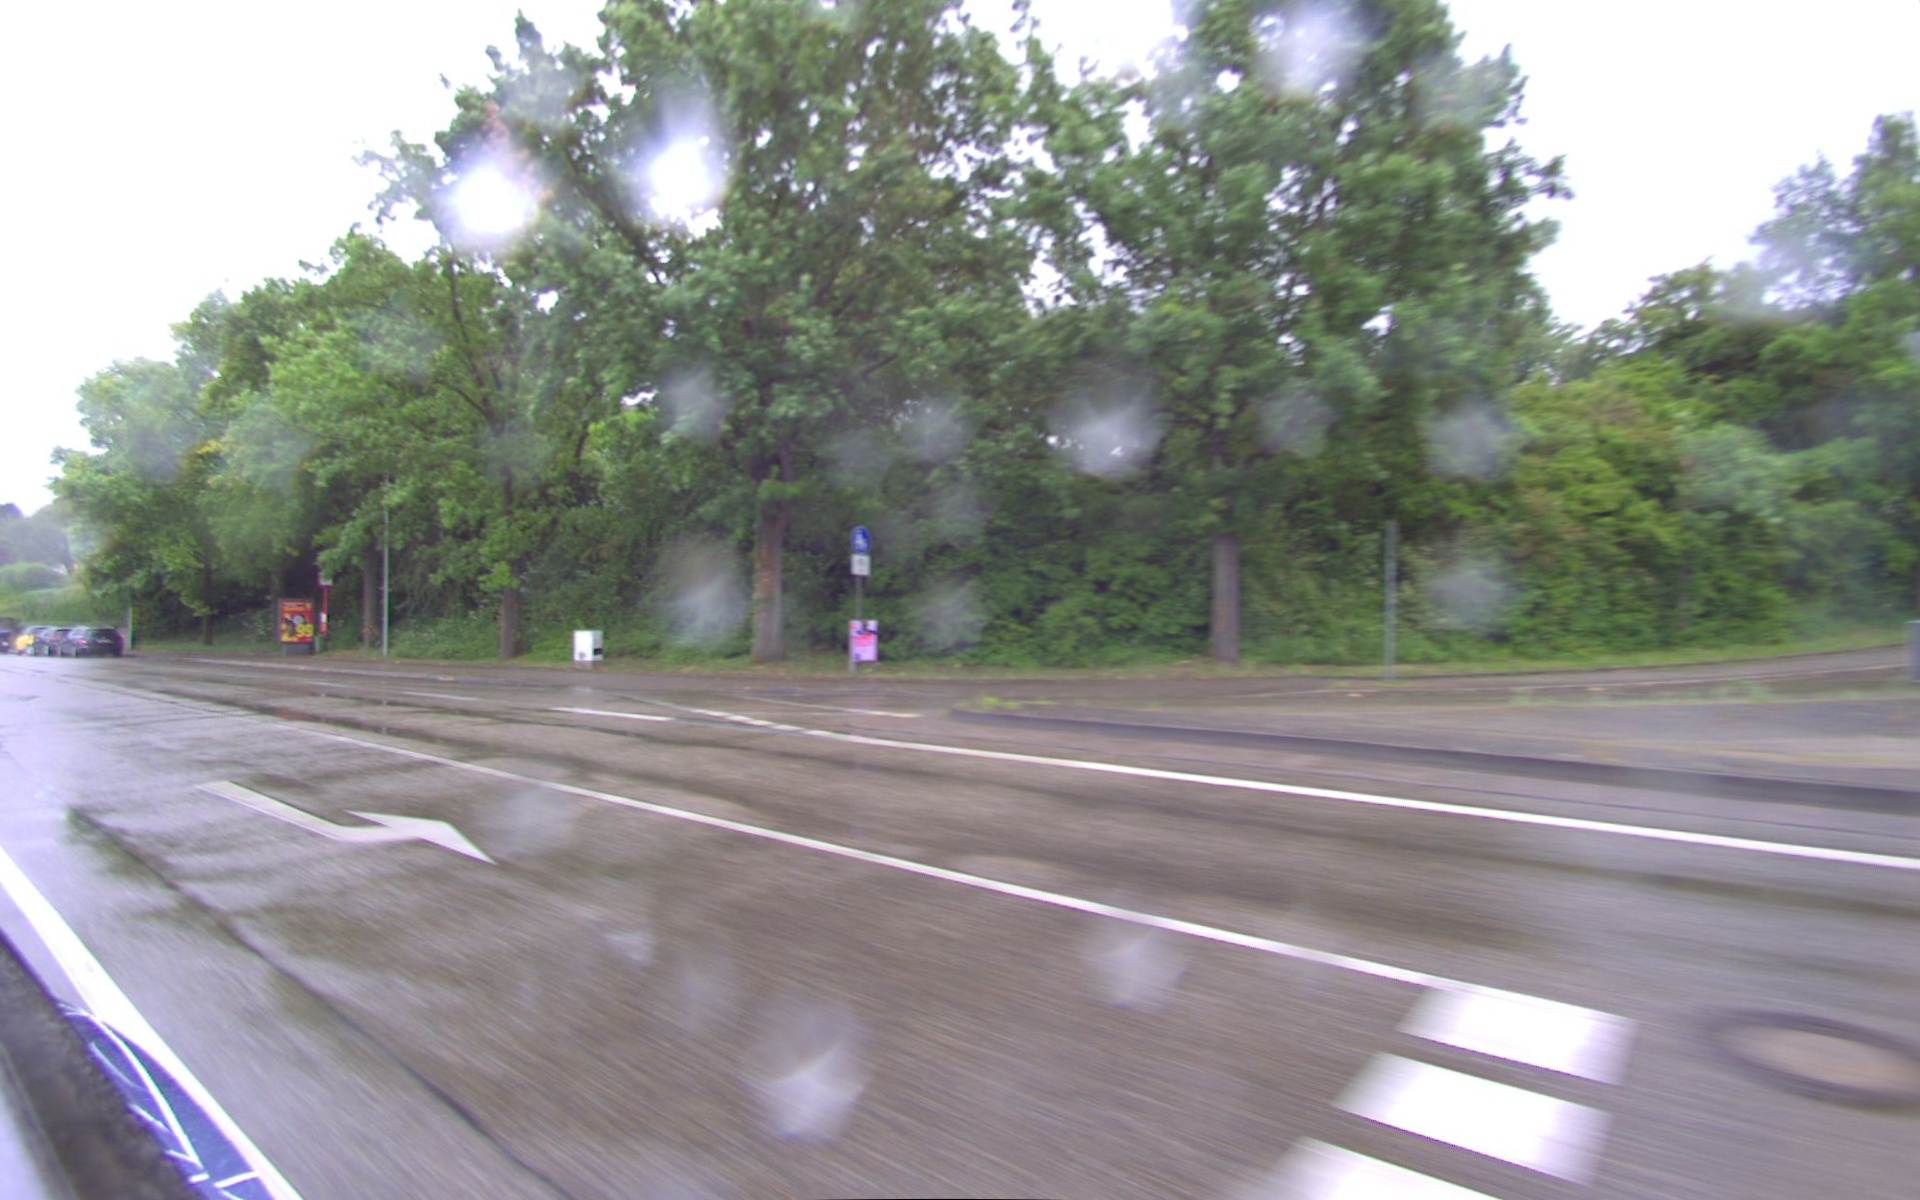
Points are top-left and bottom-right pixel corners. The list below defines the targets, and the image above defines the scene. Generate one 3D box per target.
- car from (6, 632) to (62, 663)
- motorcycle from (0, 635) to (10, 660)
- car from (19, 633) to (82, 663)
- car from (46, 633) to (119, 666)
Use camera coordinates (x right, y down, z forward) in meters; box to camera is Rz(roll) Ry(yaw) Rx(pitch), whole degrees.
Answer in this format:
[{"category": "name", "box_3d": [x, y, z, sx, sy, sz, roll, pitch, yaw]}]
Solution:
[{"category": "car", "box_3d": [-48.775, 2.482, 53.302, 2.809, 1.549, 1.423, -1, -2, 31]}, {"category": "motorcycle", "box_3d": [-54.474, 2.664, 57.006, 2.492, 1.351, 0.830, -1, -2, 33]}, {"category": "car", "box_3d": [-45.575, 2.400, 50.688, 4.094, 1.430, 1.421, -2, -2, 35]}, {"category": "car", "box_3d": [-41.317, 2.301, 47.638, 4.734, 1.430, 1.671, -2, -2, 37]}]
